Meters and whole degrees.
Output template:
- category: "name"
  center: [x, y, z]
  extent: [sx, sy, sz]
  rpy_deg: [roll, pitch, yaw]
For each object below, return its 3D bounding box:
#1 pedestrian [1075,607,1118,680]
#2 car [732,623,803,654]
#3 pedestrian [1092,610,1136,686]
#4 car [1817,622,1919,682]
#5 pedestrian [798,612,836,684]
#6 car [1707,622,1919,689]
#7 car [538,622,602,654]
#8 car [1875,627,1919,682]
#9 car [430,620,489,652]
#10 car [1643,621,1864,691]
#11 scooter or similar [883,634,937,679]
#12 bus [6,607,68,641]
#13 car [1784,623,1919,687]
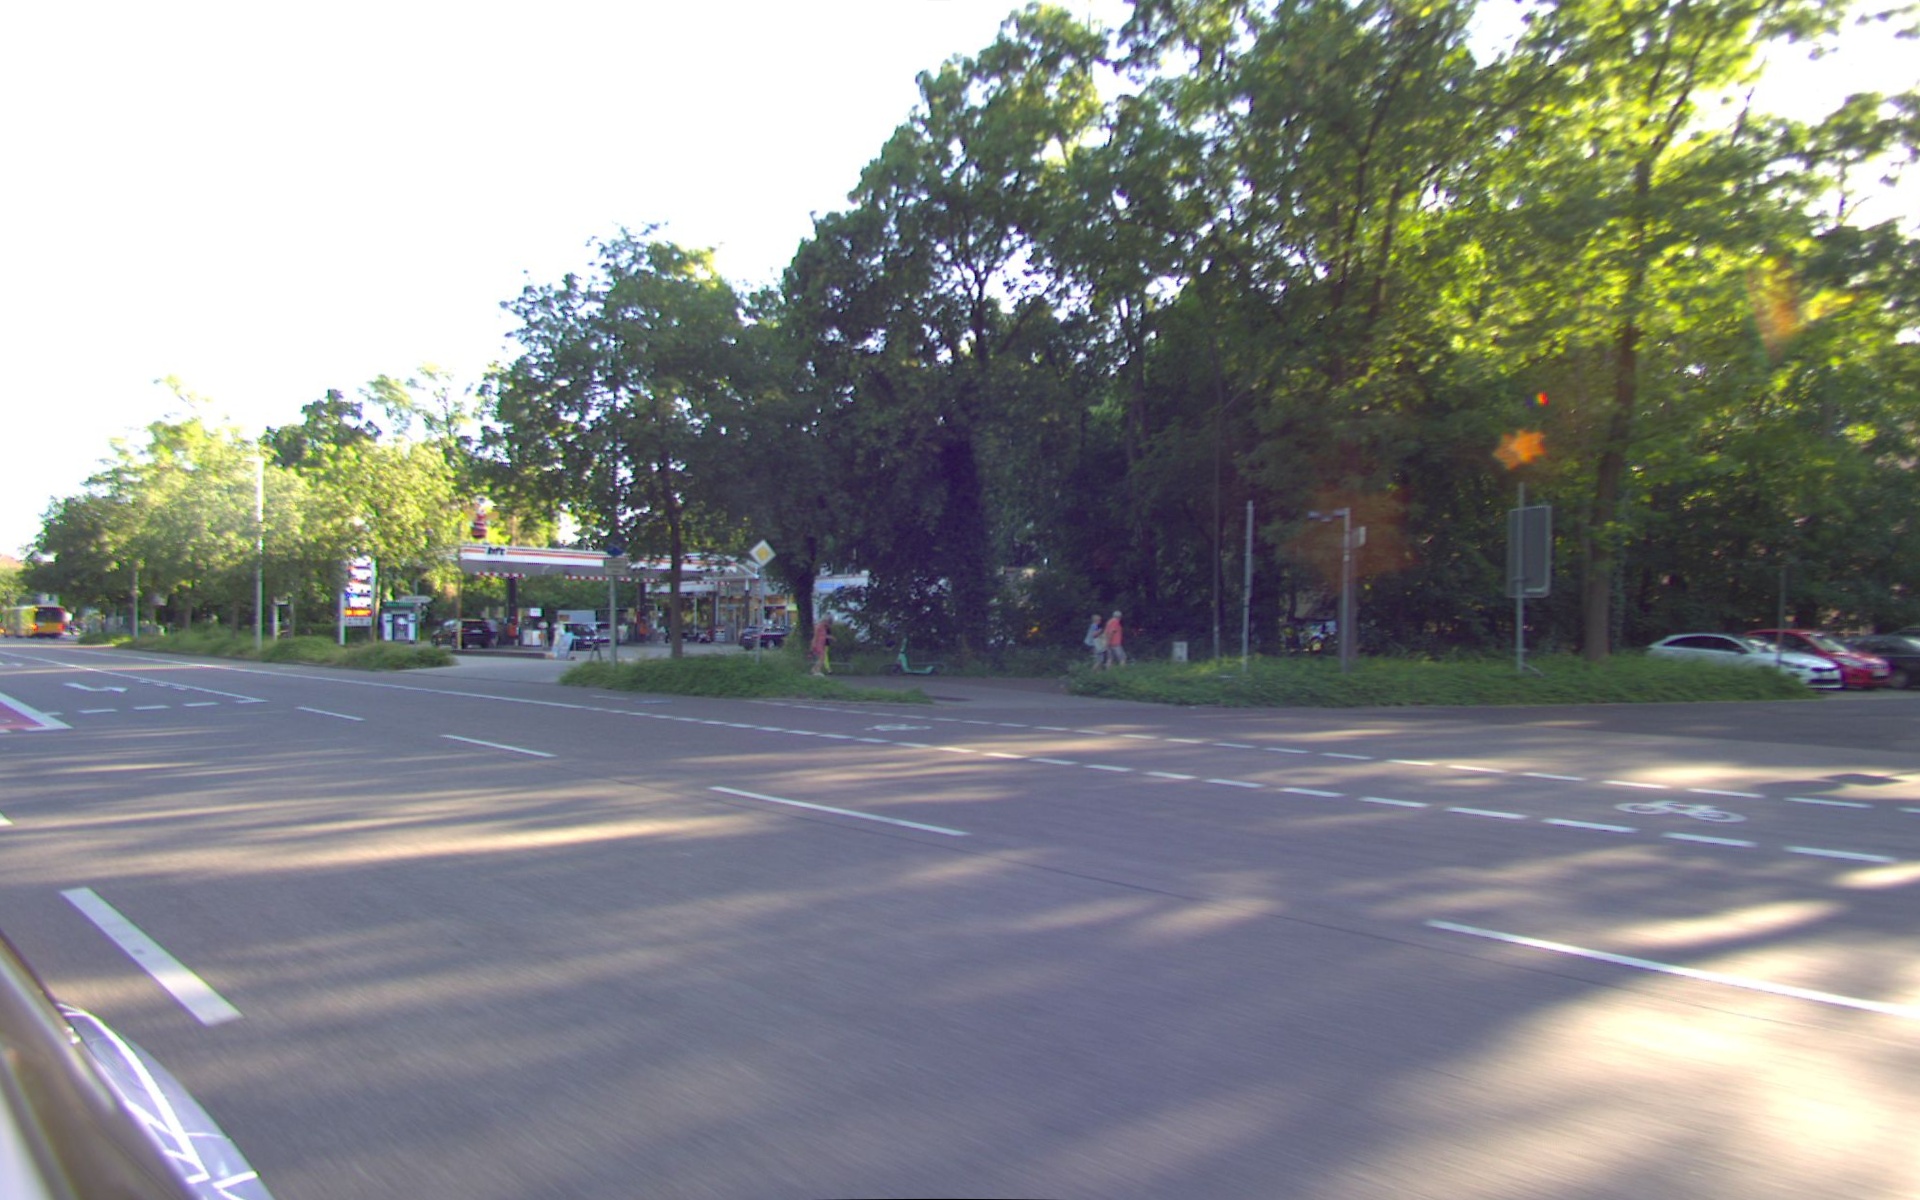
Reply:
- category: "pedestrian"
  center: [3.484, 1.099, 25.826]
  extent: [0.820, 1.833, 0.739]
  rpy_deg: [1, -2, -19]
- category: "car"
  center: [-10.539, 2.105, 55.529]
  extent: [1.759, 1.653, 3.563]
  rpy_deg: [-1, -2, 41]
- category: "pedestrian"
  center: [3.796, 1.180, 24.984]
  extent: [0.820, 1.833, 0.739]
  rpy_deg: [1, -2, -19]
- category: "car"
  center: [27.599, 1.512, 29.030]
  extent: [1.799, 1.666, 4.304]
  rpy_deg: [3, -2, -17]
- category: "pedestrian"
  center: [-3.700, 1.227, 26.230]
  extent: [0.824, 1.833, 0.735]
  rpy_deg: [0, -2, 5]
- category: "car"
  center: [23.162, 1.436, 27.518]
  extent: [1.799, 1.666, 4.304]
  rpy_deg: [1, -2, -17]
- category: "car"
  center: [-21.189, 2.055, 54.959]
  extent: [3.838, 1.653, 1.735]
  rpy_deg: [-1, -2, 43]
- category: "car"
  center: [29.960, 1.653, 29.697]
  extent: [1.799, 1.666, 4.304]
  rpy_deg: [3, -2, -17]
- category: "car"
  center: [-27.225, 1.933, 55.041]
  extent: [3.612, 1.653, 1.735]
  rpy_deg: [-1, -2, 43]
- category: "car"
  center: [20.756, 1.410, 26.724]
  extent: [1.799, 1.666, 4.304]
  rpy_deg: [1, -2, -17]
- category: "scooter or similar"
  center: [-1.306, 1.460, 26.344]
  extent: [1.333, 1.140, 0.462]
  rpy_deg: [0, -2, 16]
- category: "bus"
  center: [-95.195, 2.481, 104.301]
  extent: [9.465, 3.434, 3.002]
  rpy_deg: [-1, -2, 37]
- category: "car"
  center: [25.365, 1.496, 27.525]
  extent: [1.799, 1.666, 4.304]
  rpy_deg: [3, -2, -17]
